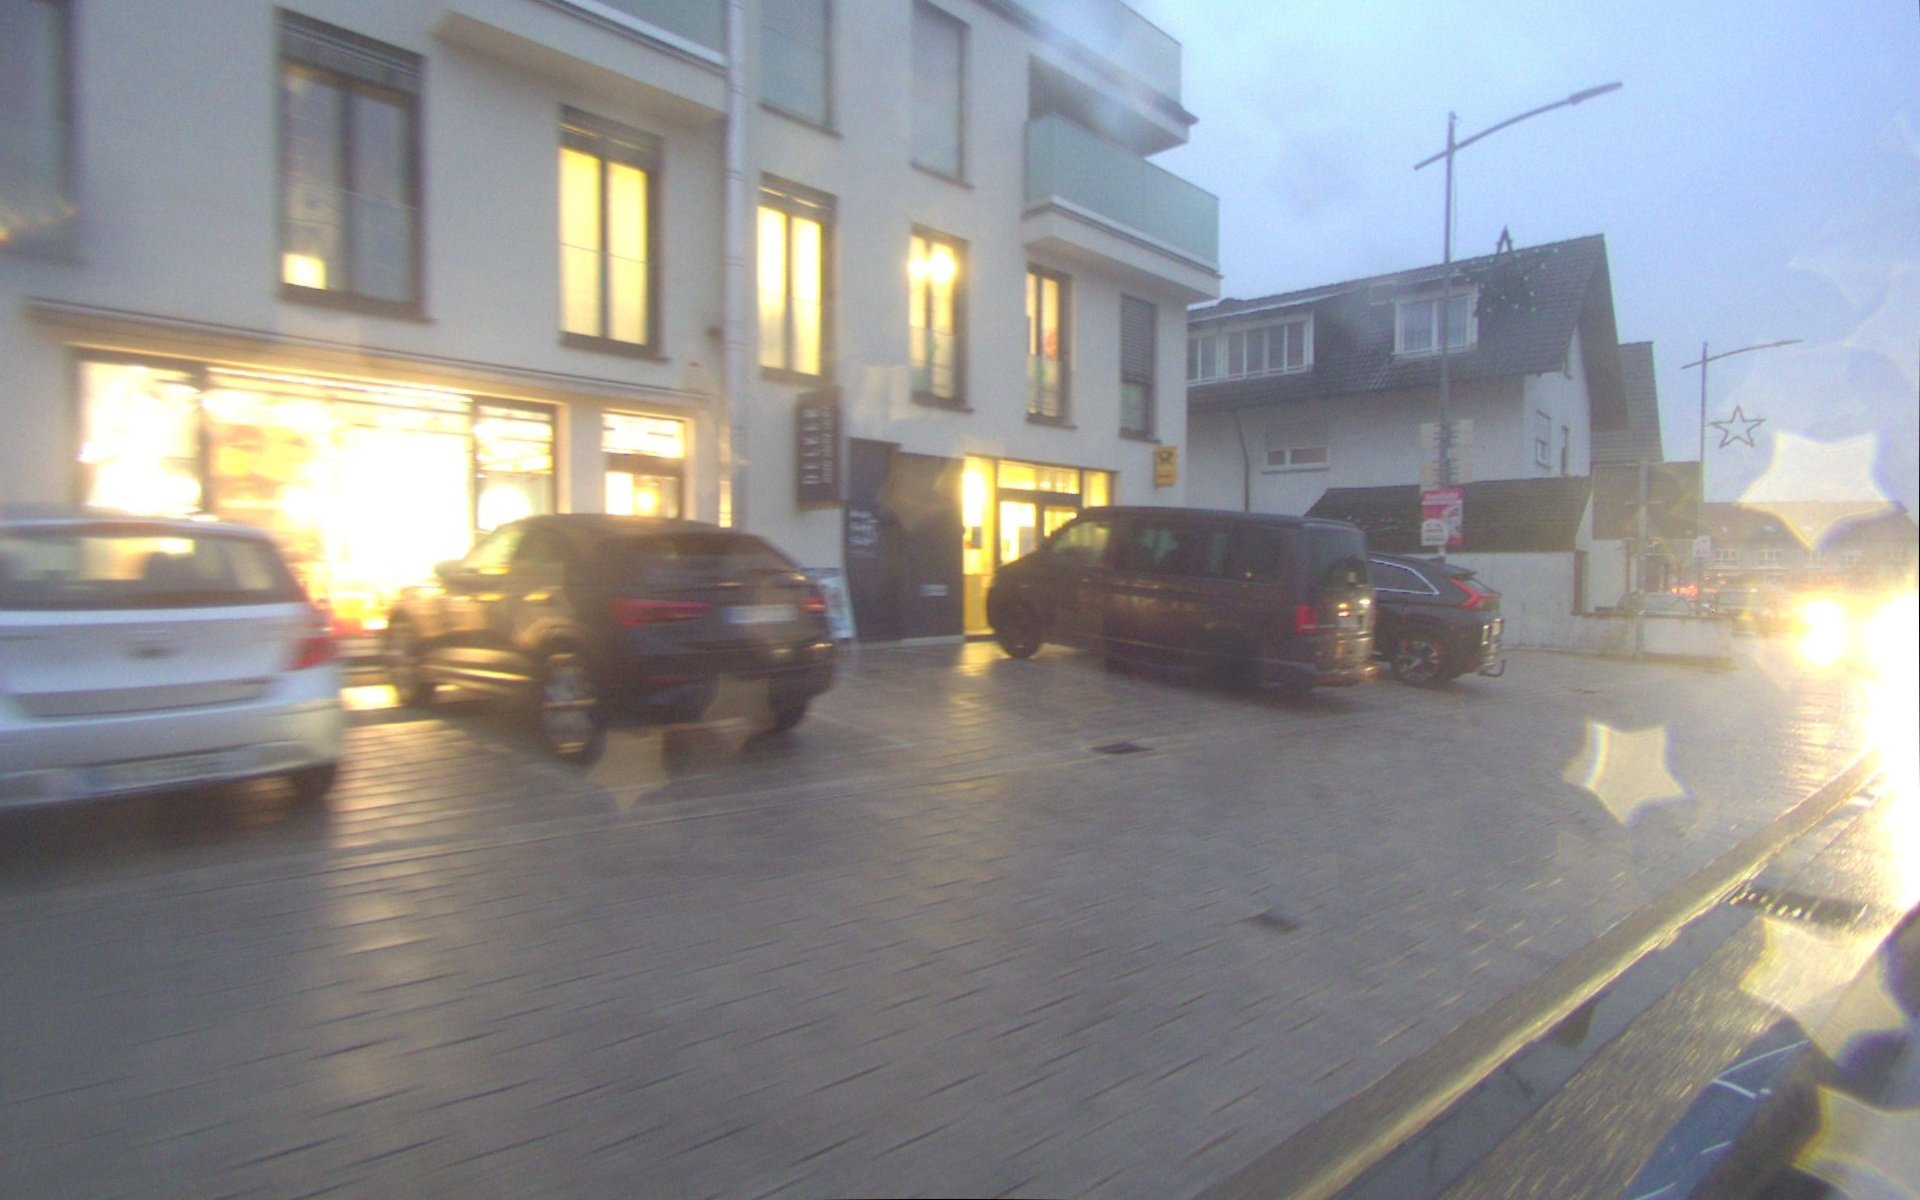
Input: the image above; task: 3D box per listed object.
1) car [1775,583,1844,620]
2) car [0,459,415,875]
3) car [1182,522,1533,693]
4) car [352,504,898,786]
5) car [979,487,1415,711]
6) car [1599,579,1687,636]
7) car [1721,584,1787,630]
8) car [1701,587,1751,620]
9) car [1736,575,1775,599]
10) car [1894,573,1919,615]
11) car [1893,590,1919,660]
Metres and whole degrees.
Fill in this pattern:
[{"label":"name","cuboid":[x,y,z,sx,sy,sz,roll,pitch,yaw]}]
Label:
[{"label":"car","cuboid":[35.183,0.029,41.998,1.730,1.461,3.952,0,0,33]},{"label":"car","cuboid":[-4.708,0.104,5.378,3.981,1.521,1.789,4,5,39]},{"label":"car","cuboid":[5.475,-0.005,14.189,4.133,1.653,1.732,11,7,36]},{"label":"car","cuboid":[-2.758,0.064,7.724,4.506,1.510,1.946,5,6,41]},{"label":"car","cuboid":[2.586,-0.176,11.944,1.943,1.956,4.546,1,6,-45]},{"label":"car","cuboid":[20.219,0.201,29.903,1.770,1.515,3.724,4,2,39]},{"label":"car","cuboid":[29.657,0.239,37.821,1.840,1.606,3.716,2,1,39]},{"label":"car","cuboid":[32.793,0.130,43.377,1.488,1.307,3.250,2,1,34]},{"label":"car","cuboid":[67.946,-1.107,86.493,1.982,2.039,3.960,0,1,29]},{"label":"car","cuboid":[48.381,-0.293,50.280,1.982,2.039,3.960,0,1,29]},{"label":"car","cuboid":[21.709,0.517,22.280,1.566,1.487,3.563,0,0,41]}]
